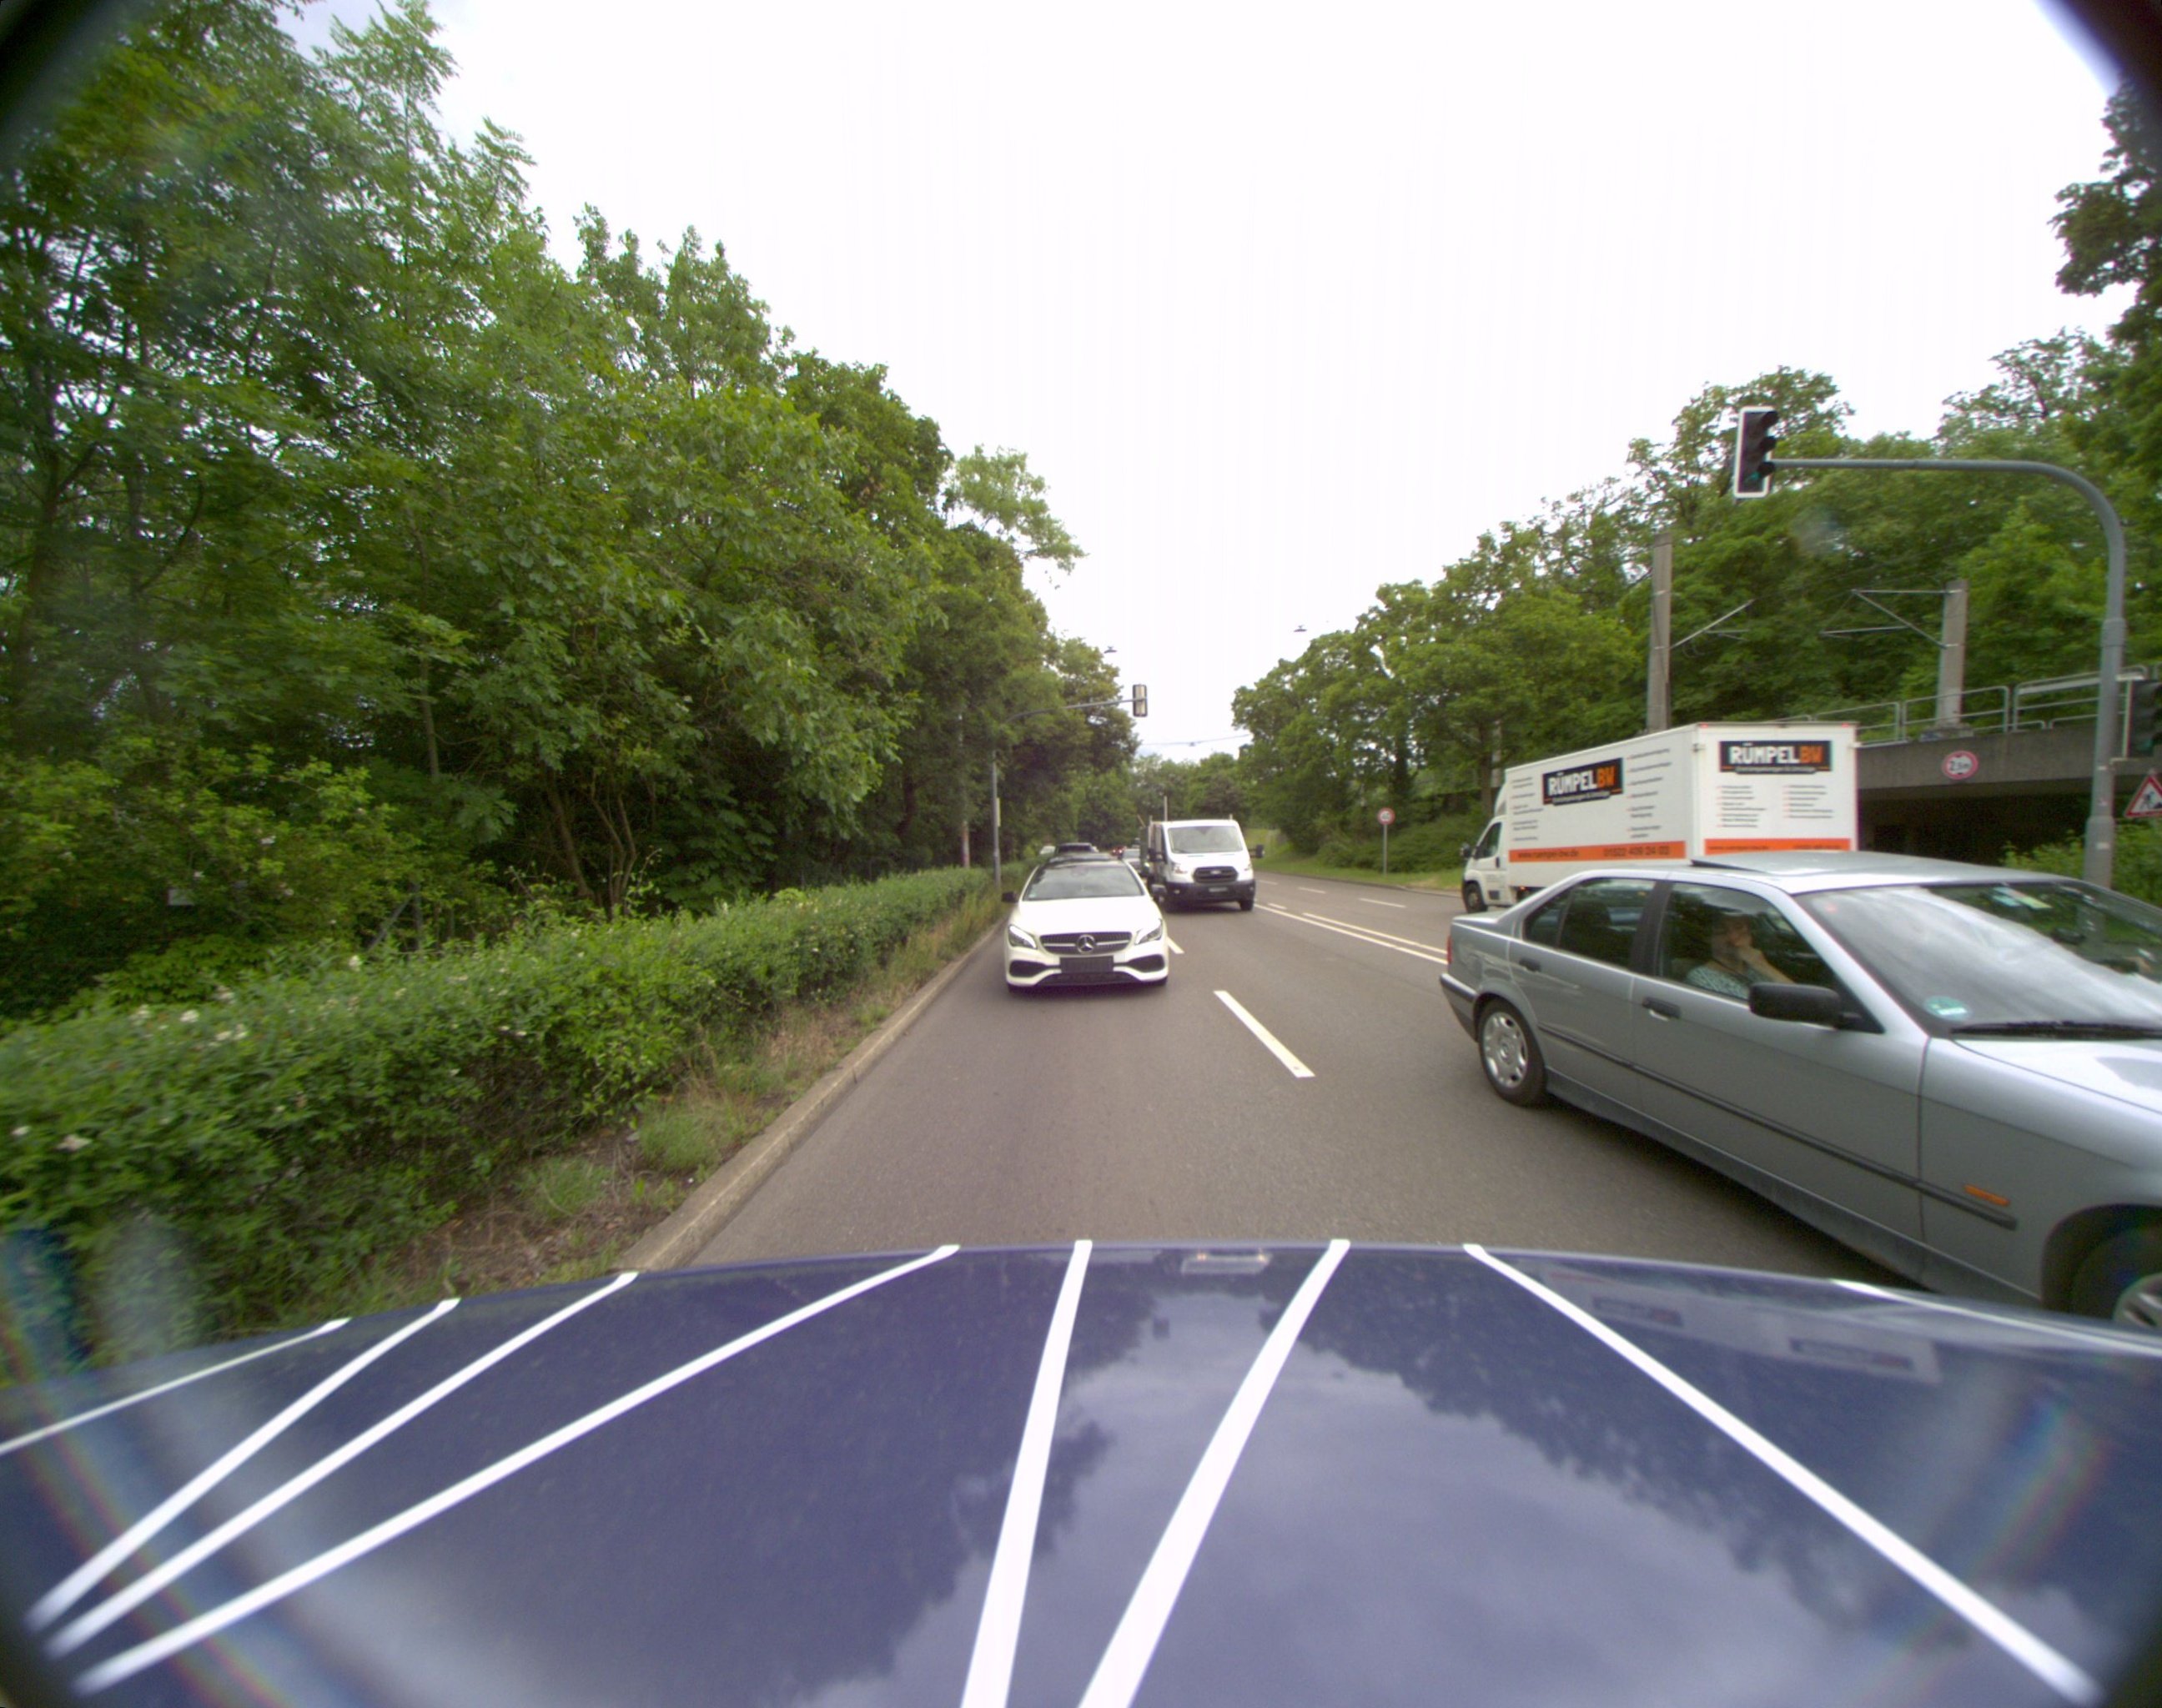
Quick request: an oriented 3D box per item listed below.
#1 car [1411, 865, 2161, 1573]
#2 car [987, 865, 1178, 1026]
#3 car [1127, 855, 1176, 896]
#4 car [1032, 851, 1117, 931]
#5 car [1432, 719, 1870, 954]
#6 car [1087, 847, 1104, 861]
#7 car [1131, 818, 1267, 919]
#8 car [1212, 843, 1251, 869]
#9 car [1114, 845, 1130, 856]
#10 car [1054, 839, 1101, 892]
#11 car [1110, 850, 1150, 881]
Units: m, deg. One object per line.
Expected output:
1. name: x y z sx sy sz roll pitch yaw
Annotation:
1. car: 3.172 0.815 2.931 1.757 1.385 4.614 -1 1 0
2. car: -0.002 0.909 9.430 1.807 1.385 4.283 -1 1 0
3. car: 2.899 0.862 32.250 1.677 1.532 4.552 -1 1 1
4. car: -0.191 0.732 17.488 1.678 1.532 4.613 -1 1 -1
5. car: 9.242 -0.284 13.687 2.276 3.039 7.233 -2 1 -2
6. car: 1.766 -0.046 90.431 1.677 1.532 4.616 -1 1 4
7. car: 2.784 0.268 19.774 2.253 2.114 6.667 -2 1 -2
8. car: 9.259 0.107 47.032 1.677 1.532 3.749 -1 1 1
9. car: 5.944 -0.538 109.607 1.676 1.532 4.618 -1 1 10
10. car: -0.204 0.446 32.406 1.826 2.059 4.613 -1 1 -1
11. car: 2.569 0.554 40.470 1.678 1.532 4.613 -1 1 -2
